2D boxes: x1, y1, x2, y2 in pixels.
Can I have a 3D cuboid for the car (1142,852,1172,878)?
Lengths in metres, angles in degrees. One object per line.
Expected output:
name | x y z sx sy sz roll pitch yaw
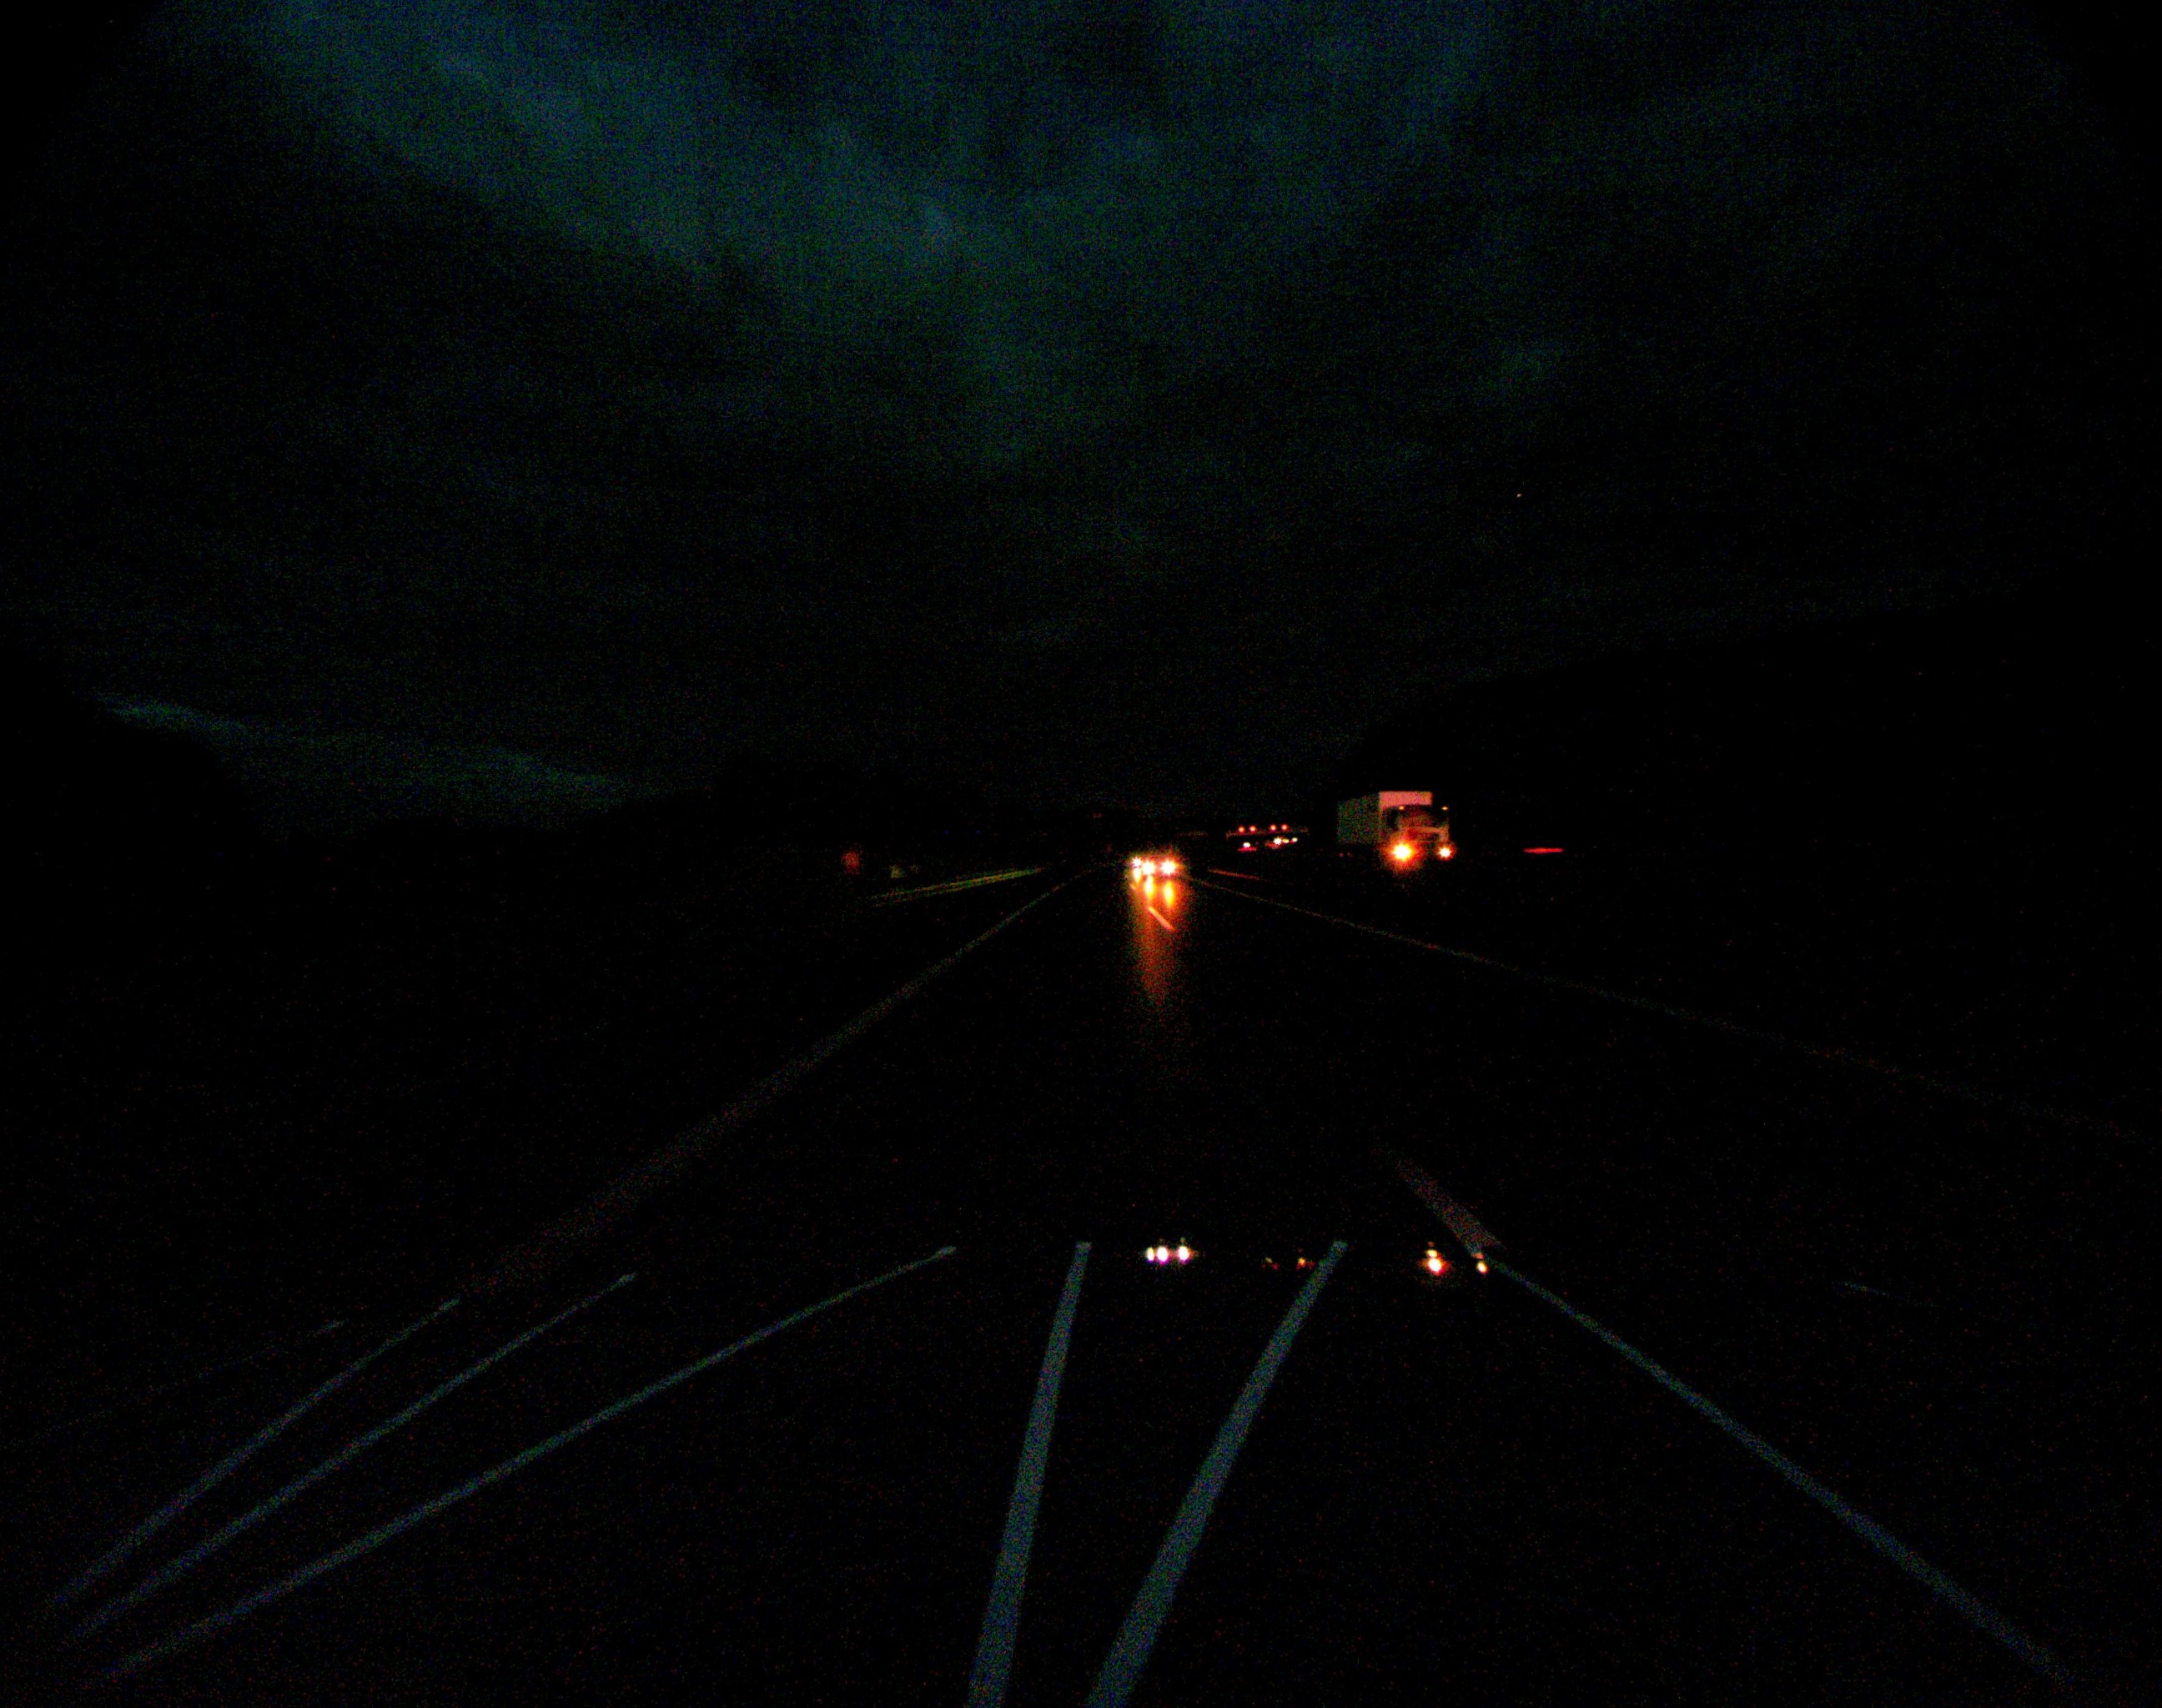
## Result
car | 4.865 0.662 48.967 1.669 1.551 3.757 -2 0 3

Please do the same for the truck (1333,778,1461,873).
truck | 16.302 -1.362 40.146 3.045 4.276 9.892 -2 1 3

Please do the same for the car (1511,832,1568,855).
car | 33.717 -0.762 55.961 1.897 1.610 4.000 -2 1 3

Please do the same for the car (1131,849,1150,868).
car | 6.739 0.499 85.801 1.998 2.002 4.000 -2 1 3
